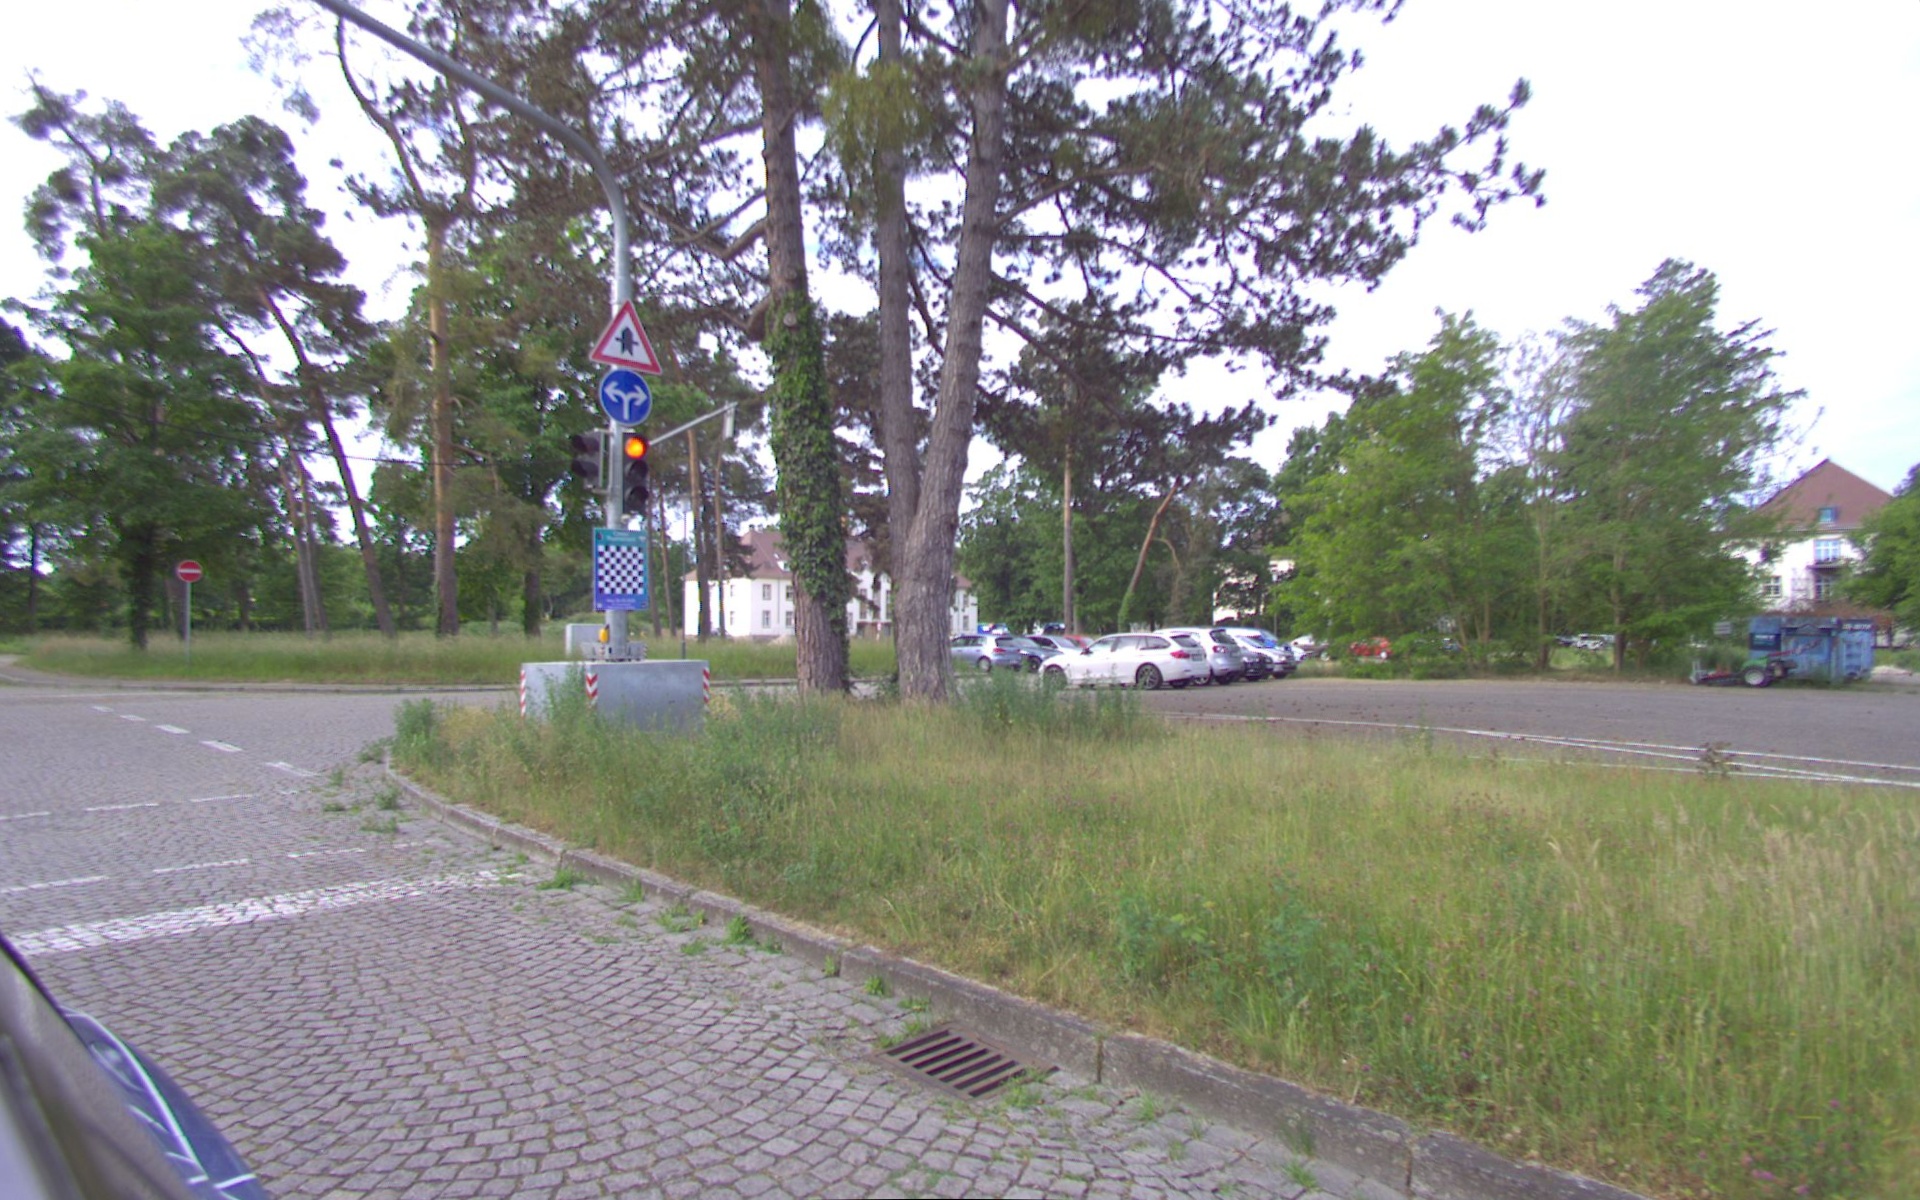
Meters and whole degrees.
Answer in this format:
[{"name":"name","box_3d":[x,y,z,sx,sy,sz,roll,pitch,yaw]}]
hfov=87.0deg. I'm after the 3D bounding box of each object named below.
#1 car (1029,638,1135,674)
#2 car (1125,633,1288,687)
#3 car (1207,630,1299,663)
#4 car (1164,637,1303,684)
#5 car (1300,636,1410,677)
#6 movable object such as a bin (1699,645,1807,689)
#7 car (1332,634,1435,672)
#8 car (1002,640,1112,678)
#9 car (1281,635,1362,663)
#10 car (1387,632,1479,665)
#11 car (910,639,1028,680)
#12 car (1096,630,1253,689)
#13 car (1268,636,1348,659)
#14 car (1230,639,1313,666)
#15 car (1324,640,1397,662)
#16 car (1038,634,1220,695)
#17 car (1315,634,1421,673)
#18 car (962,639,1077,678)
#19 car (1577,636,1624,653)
[{"name":"car","box_3d":[5.359,2.434,44.705,4.398,1.486,1.806,-2,-3,39]},{"name":"car","box_3d":[7.294,1.736,30.179,4.398,1.486,1.806,-2,-3,39]},{"name":"car","box_3d":[16.207,2.557,56.155,4.580,1.736,1.805,-2,-3,42]},{"name":"car","box_3d":[8.753,1.914,32.571,4.033,1.410,1.616,-2,-3,39]},{"name":"car","box_3d":[15.079,2.126,38.702,3.589,1.486,1.658,-2,-3,39]},{"name":"movable object such as a bin","box_3d":[19.310,1.612,24.714,1.953,0.976,1.431,-1,-2,35]},{"name":"car","box_3d":[17.468,2.155,41.810,3.589,1.486,1.658,-2,-3,39]},{"name":"car","box_3d":[4.056,2.435,42.672,4.398,1.486,1.806,-2,-3,39]},{"name":"car","box_3d":[23.317,3.166,65.393,4.580,1.736,1.805,-2,-3,42]},{"name":"car","box_3d":[21.989,2.230,47.141,3.589,1.486,1.658,-2,-3,39]},{"name":"car","box_3d":[0.316,2.242,38.972,4.398,1.486,1.806,-2,-3,39]},{"name":"car","box_3d":[5.876,1.657,27.939,3.895,1.532,1.653,-4,-4,39]},{"name":"car","box_3d":[21.667,2.929,63.044,4.401,1.361,1.688,-2,-3,42]},{"name":"car","box_3d":[17.857,2.974,58.040,4.188,1.486,1.805,-2,-3,42]},{"name":"car","box_3d":[28.097,3.529,71.044,4.401,1.486,1.805,-2,-3,42]},{"name":"car","box_3d":[4.280,1.590,26.047,4.316,1.436,1.806,-2,-3,39]},{"name":"car","box_3d":[16.246,2.106,40.350,3.589,1.486,1.658,-2,-3,39]},{"name":"car","box_3d":[2.346,2.298,40.559,4.398,1.486,1.806,-2,-3,39]},{"name":"car","box_3d":[72.885,5.034,115.217,4.290,1.735,1.805,-2,0,43]}]
